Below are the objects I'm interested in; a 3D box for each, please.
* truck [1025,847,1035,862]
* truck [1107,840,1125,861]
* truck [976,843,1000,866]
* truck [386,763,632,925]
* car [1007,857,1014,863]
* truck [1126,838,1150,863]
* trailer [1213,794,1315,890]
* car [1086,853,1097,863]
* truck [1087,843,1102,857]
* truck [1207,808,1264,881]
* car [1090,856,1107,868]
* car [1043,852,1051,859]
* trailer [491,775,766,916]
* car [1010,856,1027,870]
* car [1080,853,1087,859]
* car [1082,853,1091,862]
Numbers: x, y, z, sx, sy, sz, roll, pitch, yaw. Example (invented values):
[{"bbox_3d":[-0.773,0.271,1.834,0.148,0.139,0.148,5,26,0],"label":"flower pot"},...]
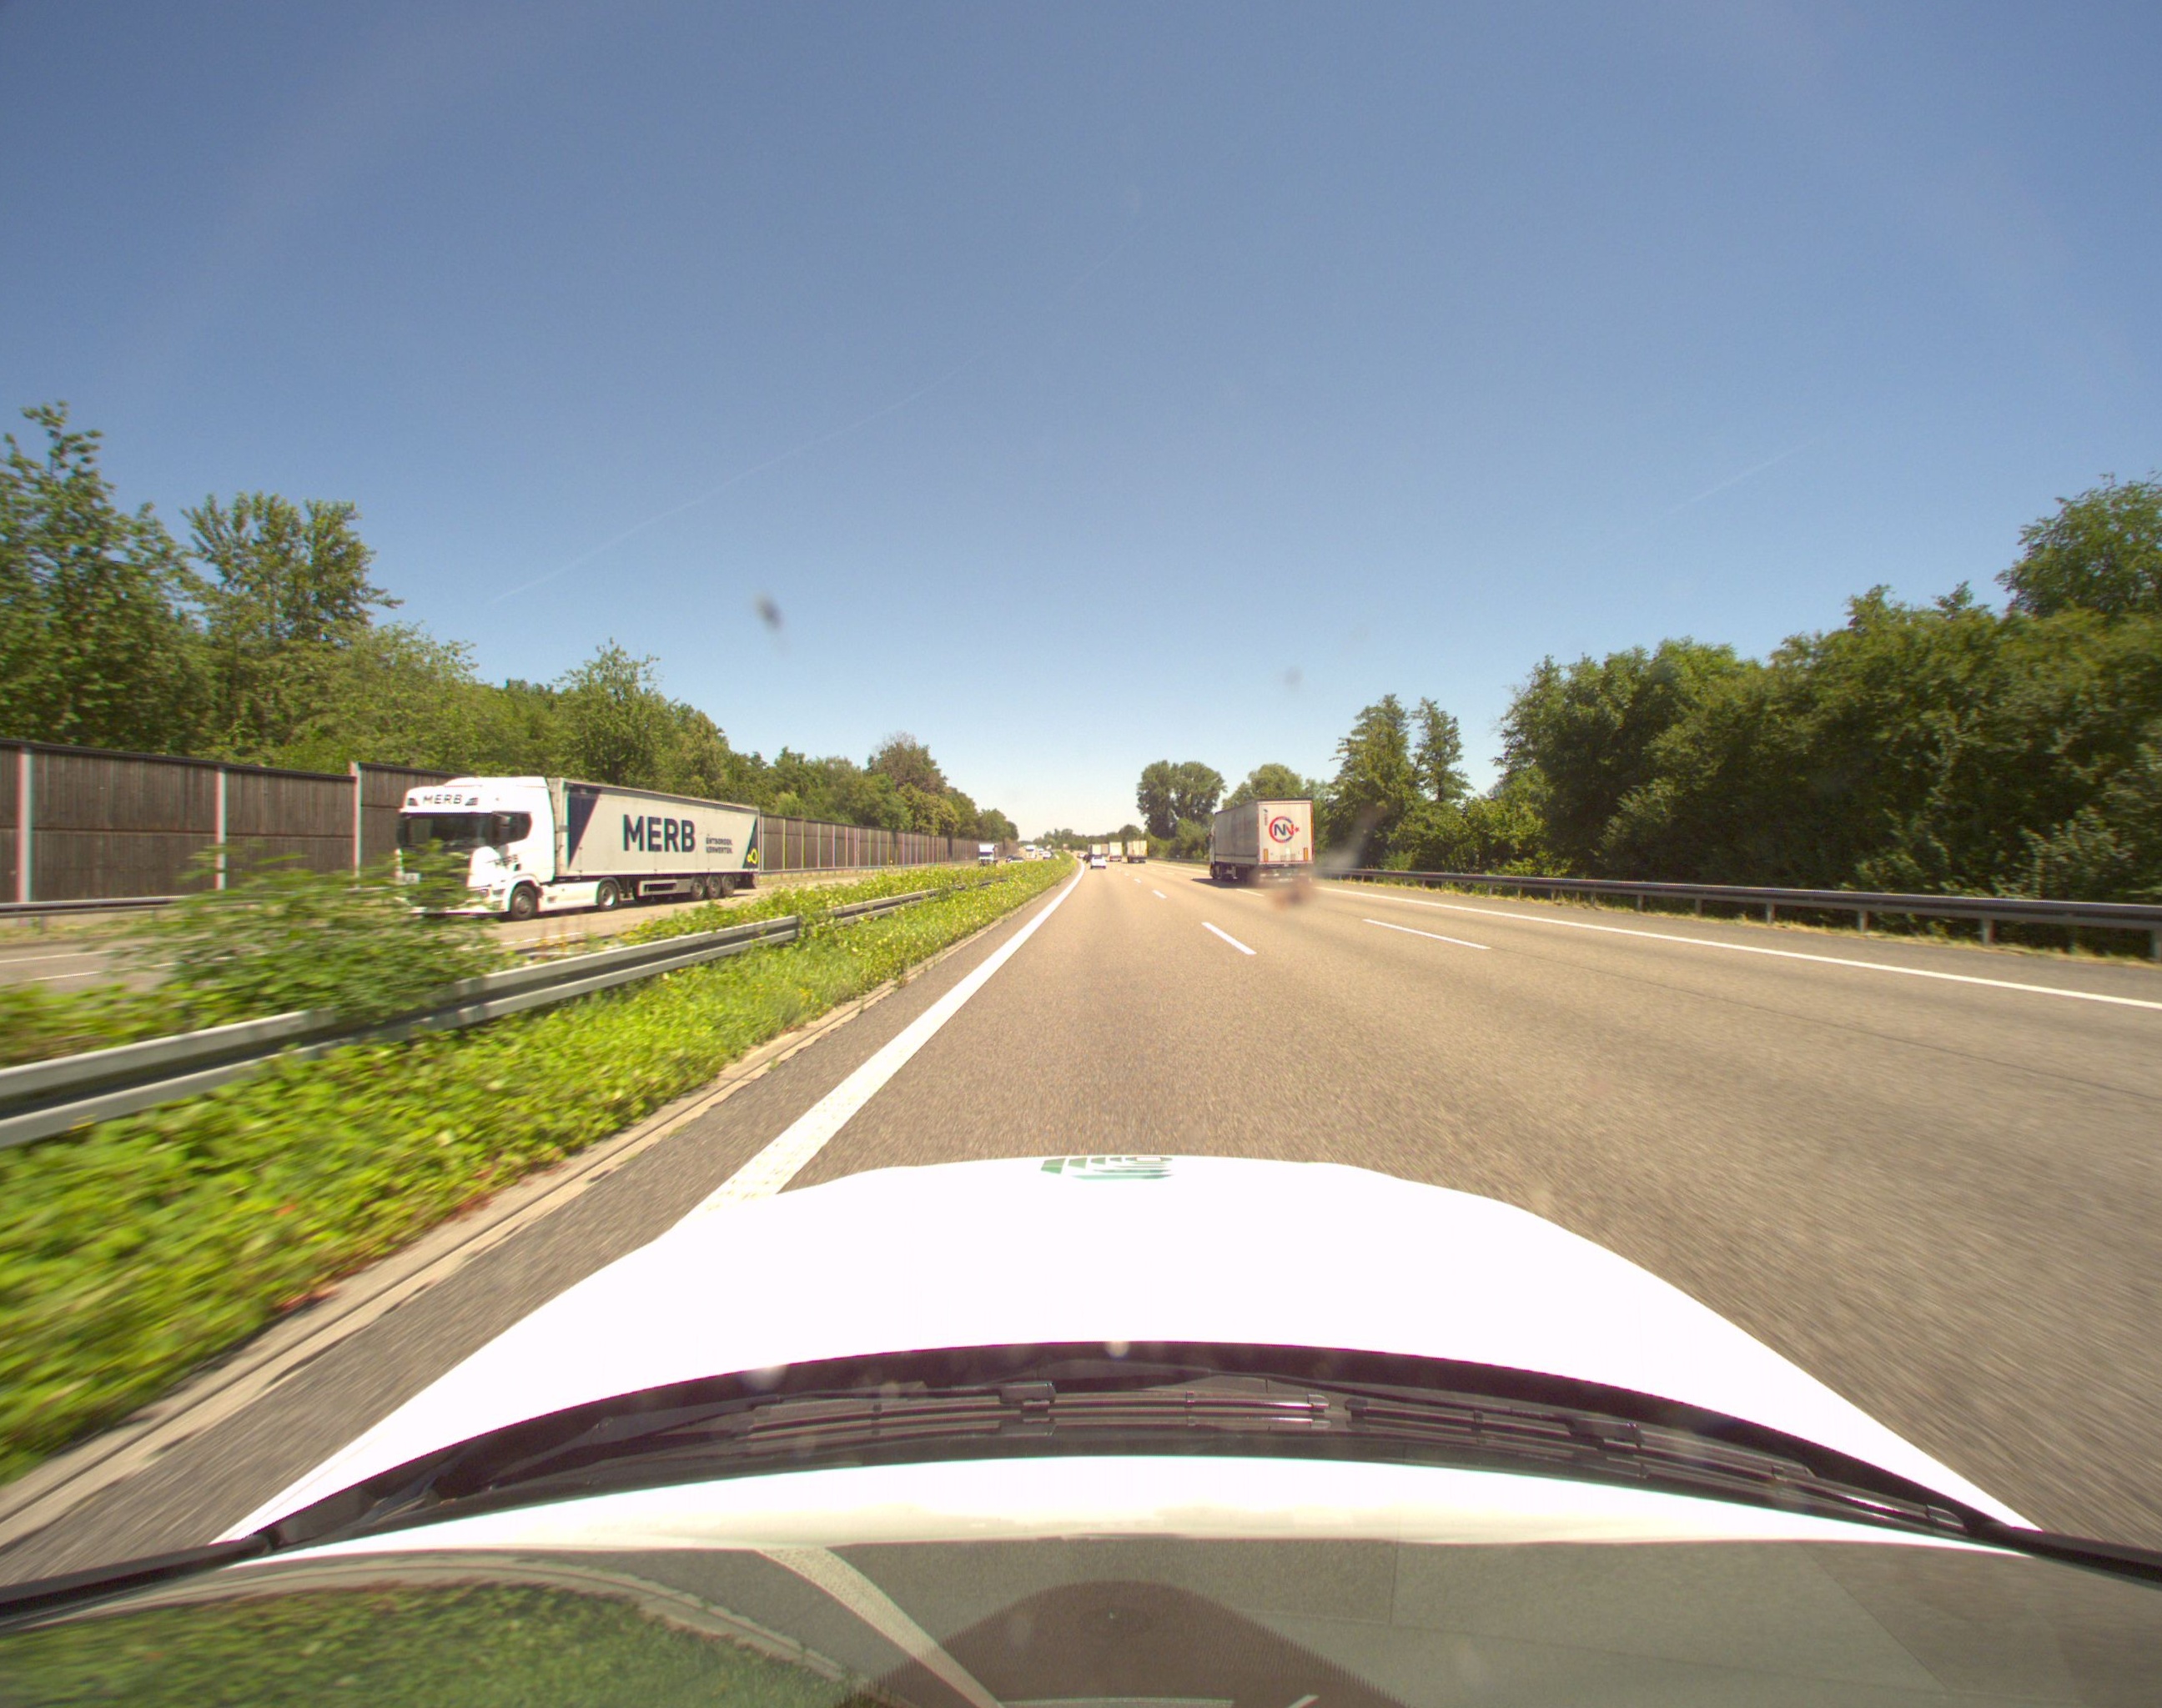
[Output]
[{"bbox_3d":[-15.137,0.123,242.295,2.722,4.192,6.034,-1,0,-1],"label":"truck"},{"bbox_3d":[7.265,-0.721,172.565,3.349,4.311,10.827,-1,0,0],"label":"truck"},{"bbox_3d":[-14.977,0.132,131.727,2.824,3.609,8.744,-1,0,0],"label":"truck"},{"bbox_3d":[-16.186,-0.249,23.725,2.511,4.066,6.372,-1,0,1],"label":"truck"},{"bbox_3d":[-15.361,1.216,177.096,1.275,1.255,3.027,-1,0,-1],"label":"car"},{"bbox_3d":[10.000,-0.601,143.955,3.481,4.311,10.987,-1,0,0],"label":"truck"},{"bbox_3d":[9.342,-0.509,43.540,2.614,4.261,14.064,-1,0,1],"label":"trailer"},{"bbox_3d":[2.034,0.793,153.543,1.987,1.772,3.999,-1,0,0],"label":"car"},{"bbox_3d":[4.111,-1.133,250.263,3.574,4.311,12.170,-1,0,-5],"label":"truck"},{"bbox_3d":[9.515,-0.543,50.688,2.596,4.287,5.437,-1,0,1],"label":"truck"},{"bbox_3d":[2.042,0.930,96.400,1.706,1.369,3.381,-1,0,6],"label":"car"},{"bbox_3d":[-8.993,0.436,216.387,1.920,1.945,4.608,-1,0,0],"label":"car"},{"bbox_3d":[-15.991,-0.225,30.852,2.475,4.135,13.656,-1,0,1],"label":"trailer"},{"bbox_3d":[-7.306,1.066,95.454,1.577,1.588,4.002,-1,0,2],"label":"car"},{"bbox_3d":[0.707,0.647,235.556,1.718,1.783,3.999,-1,0,-1],"label":"car"},{"bbox_3d":[1.341,0.683,186.049,1.987,2.013,3.999,-1,0,-1],"label":"car"}]
